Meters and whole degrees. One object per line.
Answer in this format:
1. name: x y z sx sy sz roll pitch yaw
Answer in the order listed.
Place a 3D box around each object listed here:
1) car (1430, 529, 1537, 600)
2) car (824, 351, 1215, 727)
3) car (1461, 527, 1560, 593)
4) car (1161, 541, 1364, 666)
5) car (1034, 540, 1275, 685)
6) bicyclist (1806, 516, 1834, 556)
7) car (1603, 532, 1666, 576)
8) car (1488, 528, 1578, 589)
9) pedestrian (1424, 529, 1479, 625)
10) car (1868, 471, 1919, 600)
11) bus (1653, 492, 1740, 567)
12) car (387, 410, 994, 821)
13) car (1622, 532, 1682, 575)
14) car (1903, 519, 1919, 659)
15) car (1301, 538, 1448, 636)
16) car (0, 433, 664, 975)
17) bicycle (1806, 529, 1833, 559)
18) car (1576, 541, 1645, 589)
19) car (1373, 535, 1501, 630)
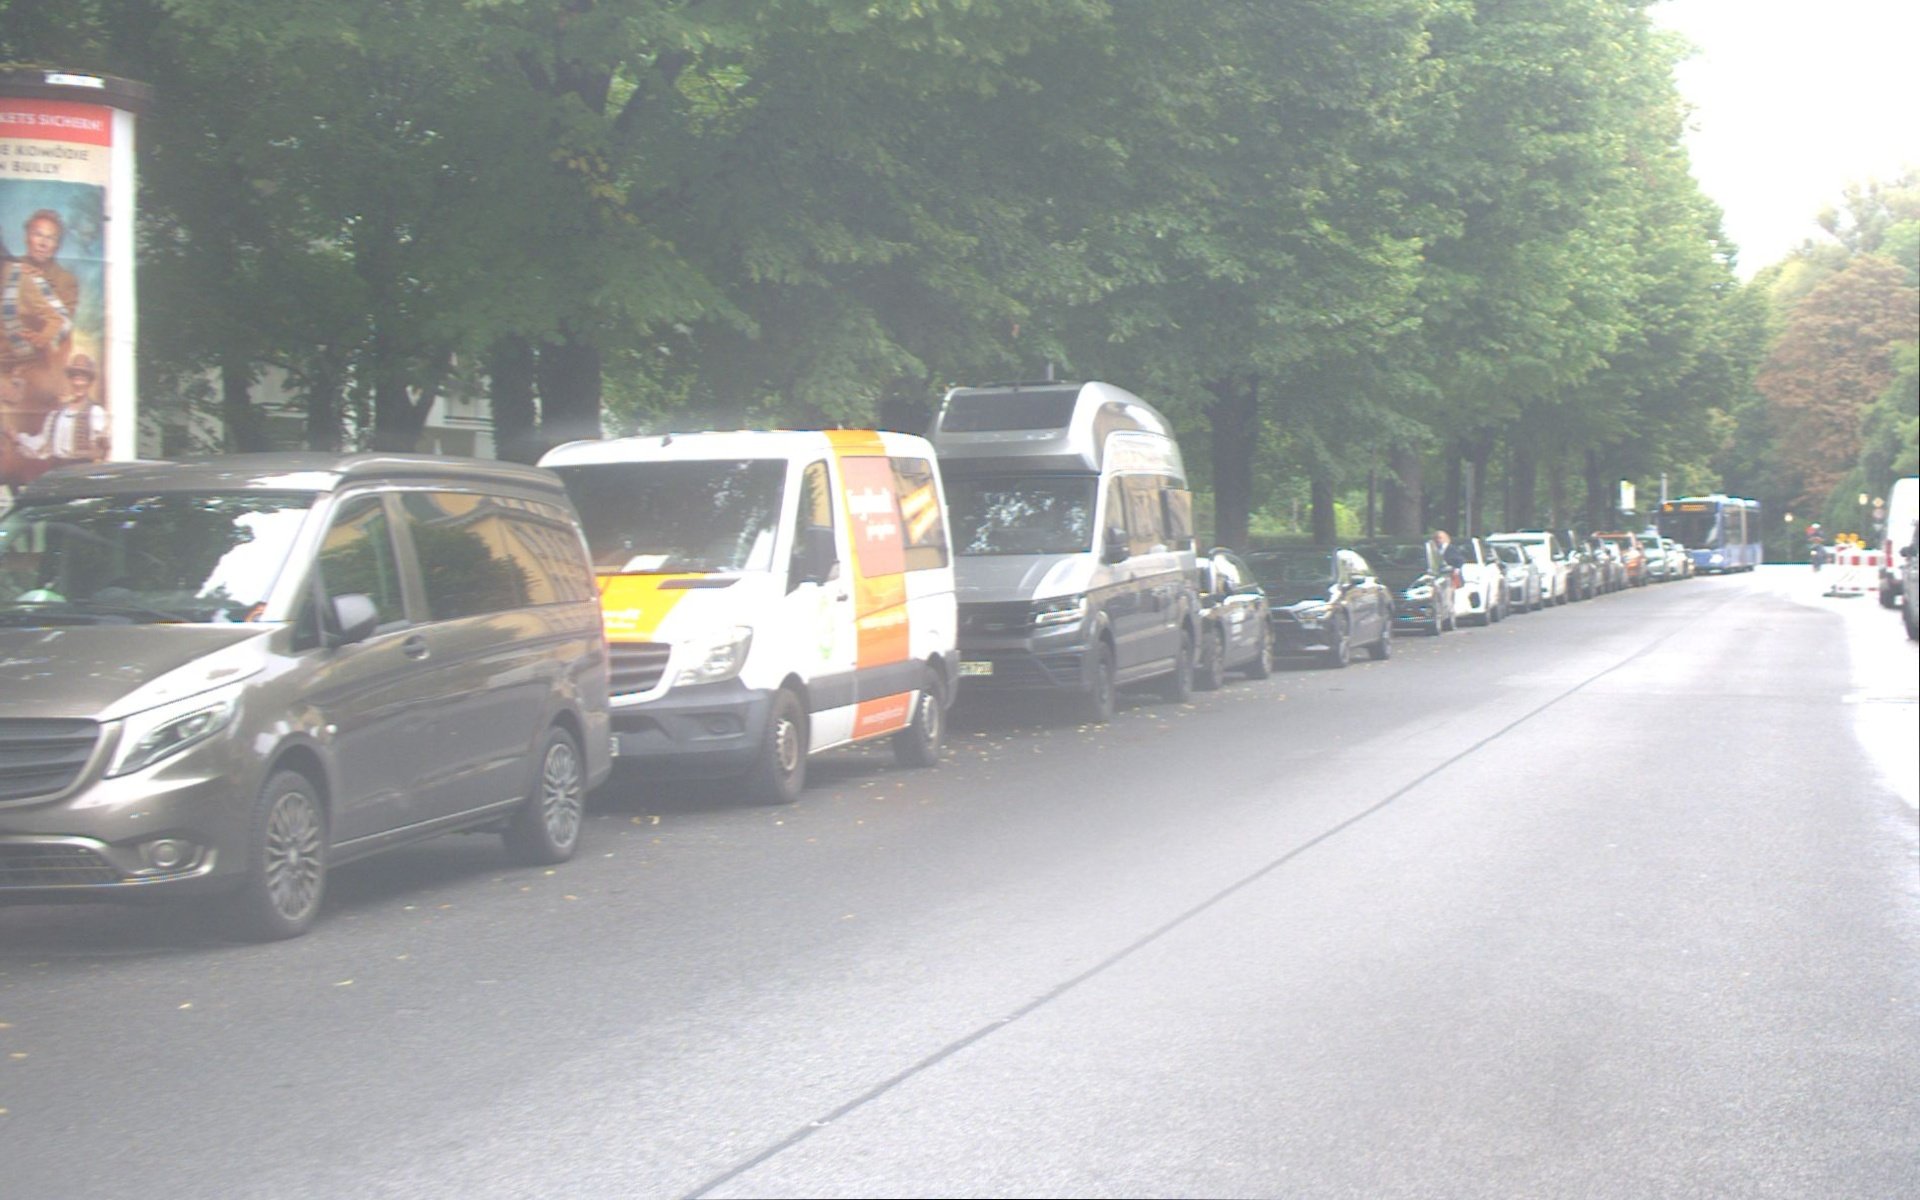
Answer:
1. car: 10.801 -0.750 70.722 1.994 1.415 3.998 0 1 11
2. car: 0.688 -0.551 30.652 2.174 2.992 6.230 0 1 14
3. car: 12.230 -0.904 76.230 1.994 1.415 3.998 0 1 11
4. car: 3.706 -0.001 41.503 1.994 1.415 4.127 0 1 11
5. car: 2.111 0.089 36.184 1.994 1.415 3.998 0 1 11
6. bicyclist: 33.529 -2.483 134.028 1.022 1.539 1.256 0 1 15
7. car: 22.189 -1.526 112.982 1.994 1.415 3.998 0 1 11
8. car: 13.716 -1.002 82.110 1.994 1.415 3.998 0 1 11
9. pedestrian: 8.206 -0.395 57.432 0.884 1.592 0.823 0 1 7
10. car: 20.132 -1.354 71.761 1.840 2.613 4.383 0 1 9
11. bus: 29.300 -2.815 137.040 2.938 2.909 8.237 0 1 9
12. car: -1.513 0.046 22.043 2.085 2.257 5.599 -2 1 15
13. car: 23.809 -1.614 118.349 1.994 1.415 3.998 0 1 11
14. car: 14.278 -0.190 47.844 1.994 1.876 3.998 0 1 12
15. car: 6.640 -0.245 54.741 1.994 1.481 4.127 0 1 11
16. car: -3.154 0.329 15.038 2.027 1.901 5.664 -1 1 13
17. bicycle: 33.563 -2.173 134.226 1.022 1.153 2.484 0 1 15
18. car: 19.765 -1.082 104.371 1.994 1.415 3.998 0 1 11
19. car: 8.498 -0.346 60.981 1.994 1.614 4.127 0 1 11
